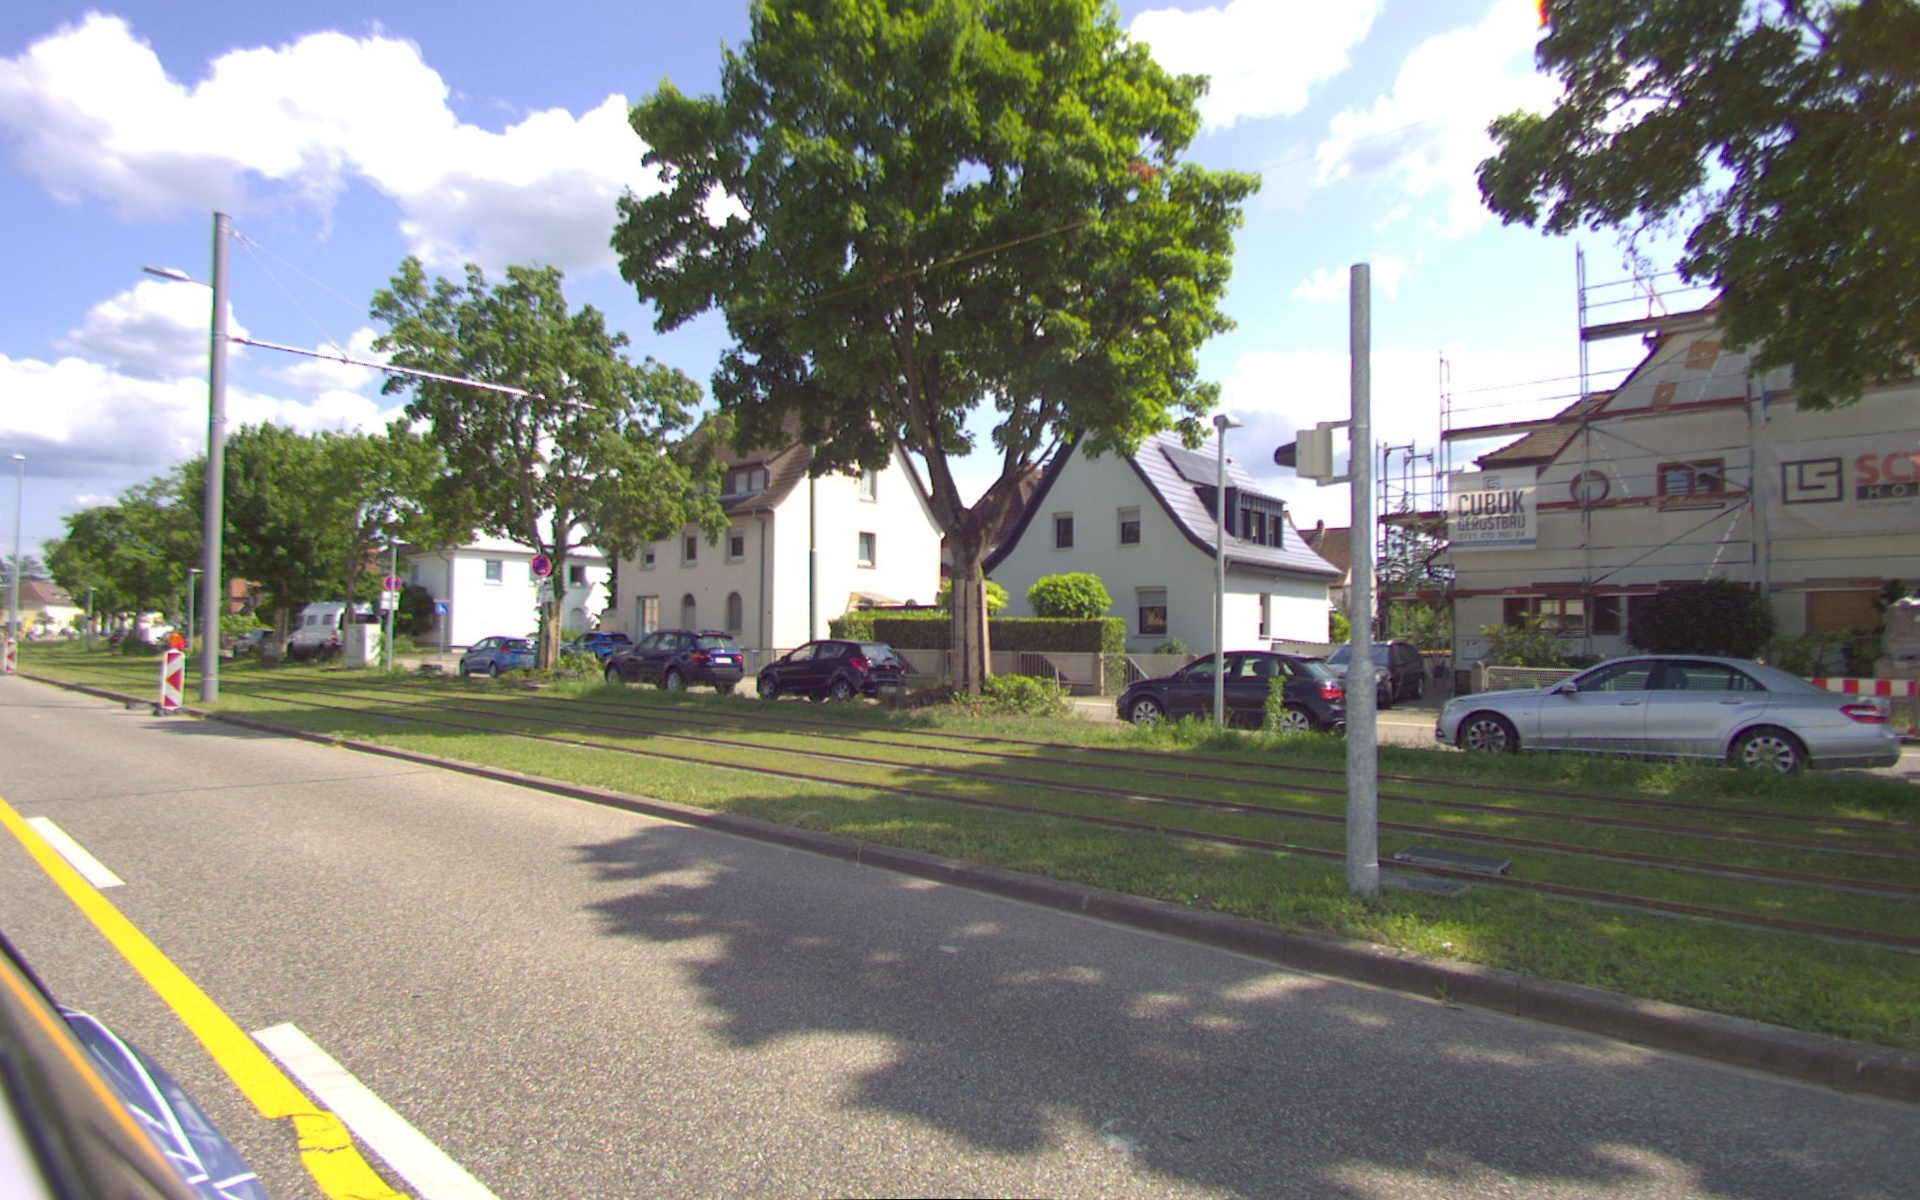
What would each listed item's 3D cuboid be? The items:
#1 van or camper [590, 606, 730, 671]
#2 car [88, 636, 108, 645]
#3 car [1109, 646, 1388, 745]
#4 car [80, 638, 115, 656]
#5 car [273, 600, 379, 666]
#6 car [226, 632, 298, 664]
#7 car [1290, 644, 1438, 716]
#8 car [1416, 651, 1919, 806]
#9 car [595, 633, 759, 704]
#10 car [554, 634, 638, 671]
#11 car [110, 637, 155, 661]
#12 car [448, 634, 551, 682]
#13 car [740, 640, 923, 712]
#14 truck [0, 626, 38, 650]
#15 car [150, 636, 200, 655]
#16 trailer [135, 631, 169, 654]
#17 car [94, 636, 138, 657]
[{"bbox_3d":[-15.740,2.076,53.490,2.633,3.246,6.657,-2,-4,41],"label":"van or camper"},{"bbox_3d":[-147.612,6.996,173.335,1.488,1.510,3.586,2,-3,-21],"label":"car"},{"bbox_3d":[4.589,1.481,16.307,3.851,1.328,1.973,-1,-5,41],"label":"car"},{"bbox_3d":[-78.182,4.279,91.735,4.324,1.551,1.971,-1,-4,44],"label":"car"},{"bbox_3d":[-28.365,1.509,45.180,6.456,2.751,1.973,-2,-4,40],"label":"car"},{"bbox_3d":[-35.654,2.415,51.667,4.485,1.517,1.972,-1,-4,42],"label":"car"},{"bbox_3d":[9.322,1.762,23.213,1.981,1.412,3.945,-1,-2,41],"label":"car"},{"bbox_3d":[8.573,1.436,12.661,4.938,1.494,1.785,-1,-4,42],"label":"car"},{"bbox_3d":[-7.586,1.779,26.966,4.386,1.704,1.974,-1,-3,38],"label":"car"},{"bbox_3d":[-16.626,2.375,46.191,3.999,1.589,1.882,-1,-4,42],"label":"car"},{"bbox_3d":[-61.221,3.652,74.865,4.099,1.590,1.885,-3,-8,42],"label":"car"},{"bbox_3d":[-15.341,1.900,33.625,3.890,1.447,1.734,-1,-4,44],"label":"car"},{"bbox_3d":[-2.996,1.711,23.259,3.998,1.450,1.973,-1,-5,41],"label":"car"},{"bbox_3d":[-136.527,5.543,146.430,2.658,3.392,8.074,3,-4,-29],"label":"truck"},{"bbox_3d":[-49.793,2.901,64.174,3.834,1.101,1.762,-1,-4,41],"label":"car"},{"bbox_3d":[-54.054,2.845,67.706,2.280,1.530,1.286,-1,-4,41],"label":"trailer"},{"bbox_3d":[-65.216,3.595,78.192,4.321,1.551,1.972,-1,-4,42],"label":"car"}]
